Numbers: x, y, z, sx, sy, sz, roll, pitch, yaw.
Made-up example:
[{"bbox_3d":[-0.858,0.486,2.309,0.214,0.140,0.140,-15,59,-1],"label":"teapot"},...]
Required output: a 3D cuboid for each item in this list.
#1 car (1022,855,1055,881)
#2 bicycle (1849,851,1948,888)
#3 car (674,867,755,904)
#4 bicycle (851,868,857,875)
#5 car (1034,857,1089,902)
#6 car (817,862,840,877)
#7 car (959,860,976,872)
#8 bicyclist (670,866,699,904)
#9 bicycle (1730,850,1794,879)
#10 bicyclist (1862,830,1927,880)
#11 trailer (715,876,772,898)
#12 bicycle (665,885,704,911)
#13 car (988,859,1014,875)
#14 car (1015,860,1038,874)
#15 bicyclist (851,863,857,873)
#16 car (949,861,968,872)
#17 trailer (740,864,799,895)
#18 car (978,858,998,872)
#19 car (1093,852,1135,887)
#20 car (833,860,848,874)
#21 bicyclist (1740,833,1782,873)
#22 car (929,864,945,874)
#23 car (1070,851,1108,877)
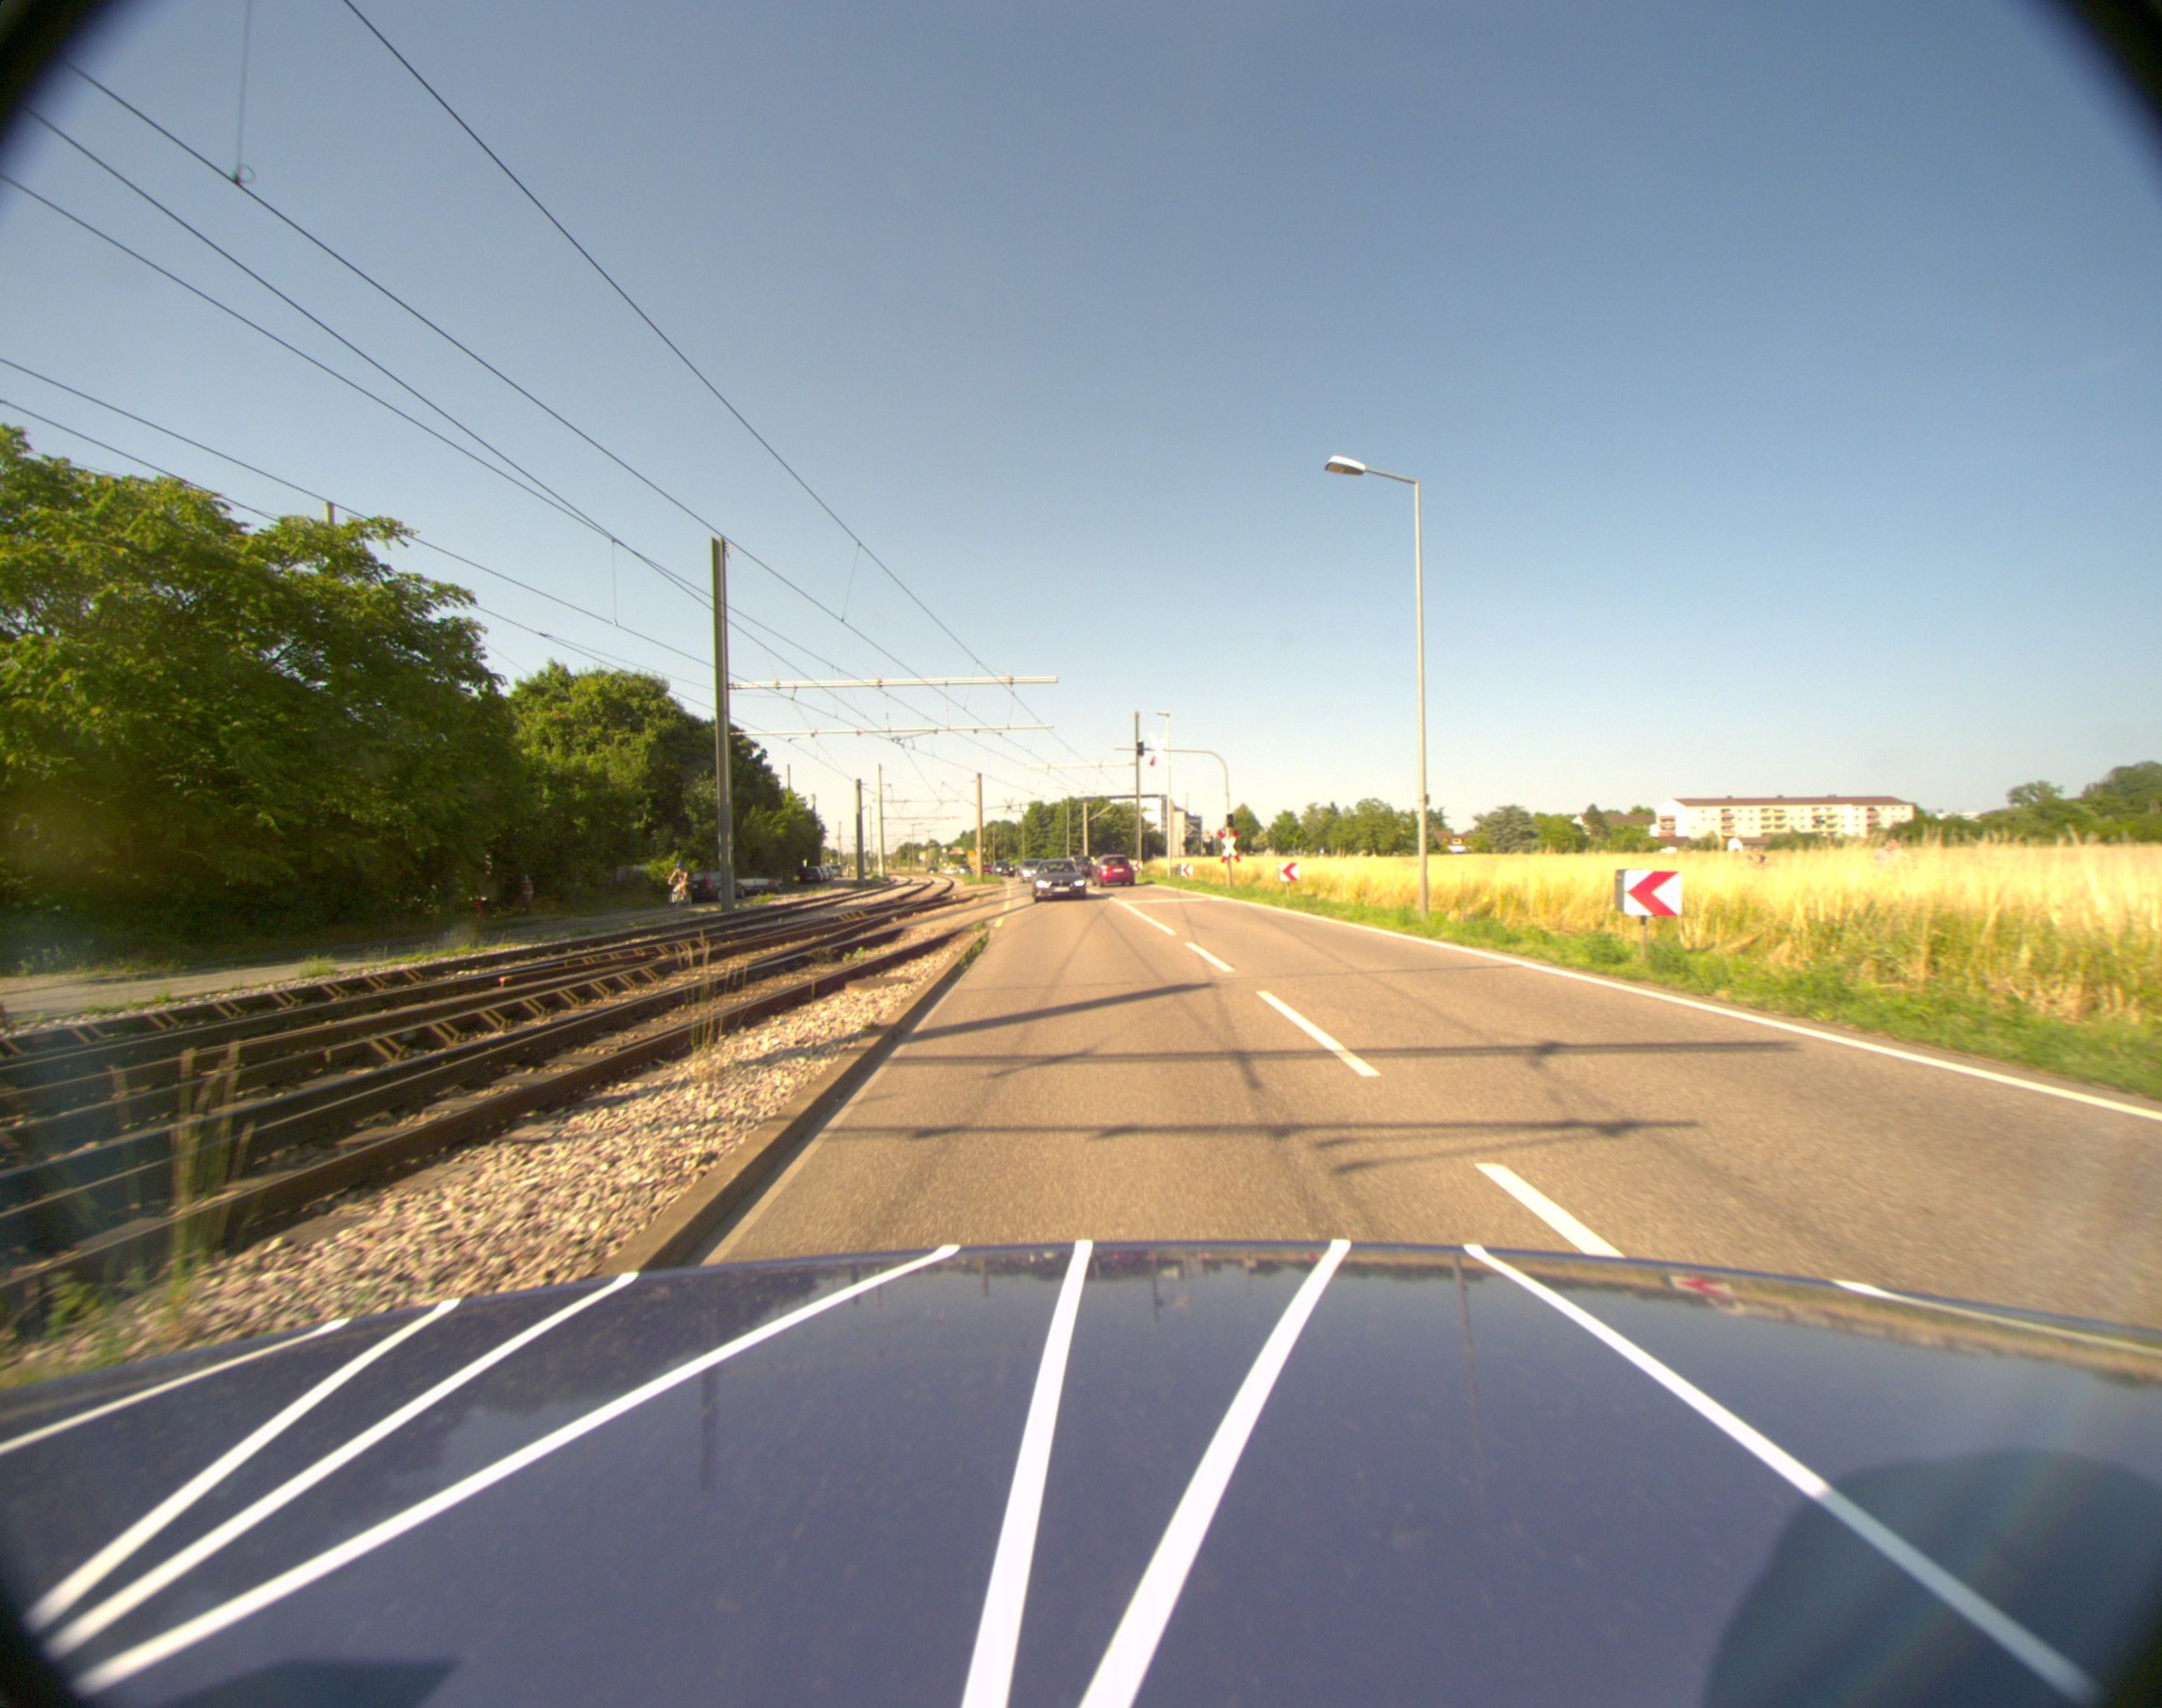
[{"bbox_3d":[-2.660,0.850,46.782,1.711,1.444,4.587,-3,-1,-6],"label":"car"},{"bbox_3d":[20.115,0.366,18.753,0.751,0.834,1.737,-2,0,10],"label":"bicycle"},{"bbox_3d":[-17.404,1.450,36.368,1.703,1.448,4.879,-4,0,-4],"label":"car"},{"bbox_3d":[-28.638,2.222,95.950,0.645,0.904,1.811,-2,0,-19],"label":"bicycle"},{"bbox_3d":[-0.709,0.853,27.186,1.748,1.444,3.946,-2,0,-2],"label":"car"},{"bbox_3d":[-26.928,1.658,81.173,1.684,1.421,3.908,-3,0,-11],"label":"car"},{"bbox_3d":[-15.401,1.602,102.922,1.609,1.504,4.262,-3,0,-17],"label":"car"},{"bbox_3d":[-15.325,1.173,29.376,0.631,1.414,0.962,-2,0,-5],"label":"bicyclist"},{"bbox_3d":[20.848,0.308,23.298,0.614,0.834,1.737,-2,0,10],"label":"bicycle"},{"bbox_3d":[20.111,0.020,18.799,0.746,1.198,0.790,-2,1,9],"label":"bicyclist"},{"bbox_3d":[-18.226,1.765,41.200,1.736,0.934,3.726,-4,0,-6],"label":"trailer"},{"bbox_3d":[-15.316,1.682,29.425,0.644,0.904,1.843,-2,0,-5],"label":"bicycle"},{"bbox_3d":[-7.438,1.204,70.561,1.849,1.347,4.150,-3,0,-12],"label":"car"},{"bbox_3d":[-5.930,1.376,82.048,1.699,1.431,4.278,-2,0,-15],"label":"car"},{"bbox_3d":[-28.669,1.732,95.971,0.642,1.226,0.790,-2,0,-19],"label":"bicyclist"},{"bbox_3d":[-18.419,1.864,113.849,1.971,1.609,4.300,-2,0,-20],"label":"car"},{"bbox_3d":[-18.459,1.481,45.239,2.033,1.587,4.257,-4,0,-7],"label":"trailer"},{"bbox_3d":[-10.985,1.297,89.330,1.849,1.587,3.734,-3,0,-14],"label":"car"},{"bbox_3d":[1.598,0.722,37.835,1.717,1.540,3.927,-2,1,-2],"label":"car"},{"bbox_3d":[-29.420,1.587,92.887,1.528,1.600,4.477,-1,-1,-19],"label":"car"},{"bbox_3d":[20.840,-0.025,23.308,0.603,1.198,0.790,-2,0,9],"label":"bicyclist"},{"bbox_3d":[-24.044,2.548,126.988,1.840,1.504,4.146,-3,0,-22],"label":"car"},{"bbox_3d":[0.479,0.658,51.768,1.712,1.655,4.585,-2,0,-11],"label":"car"}]
